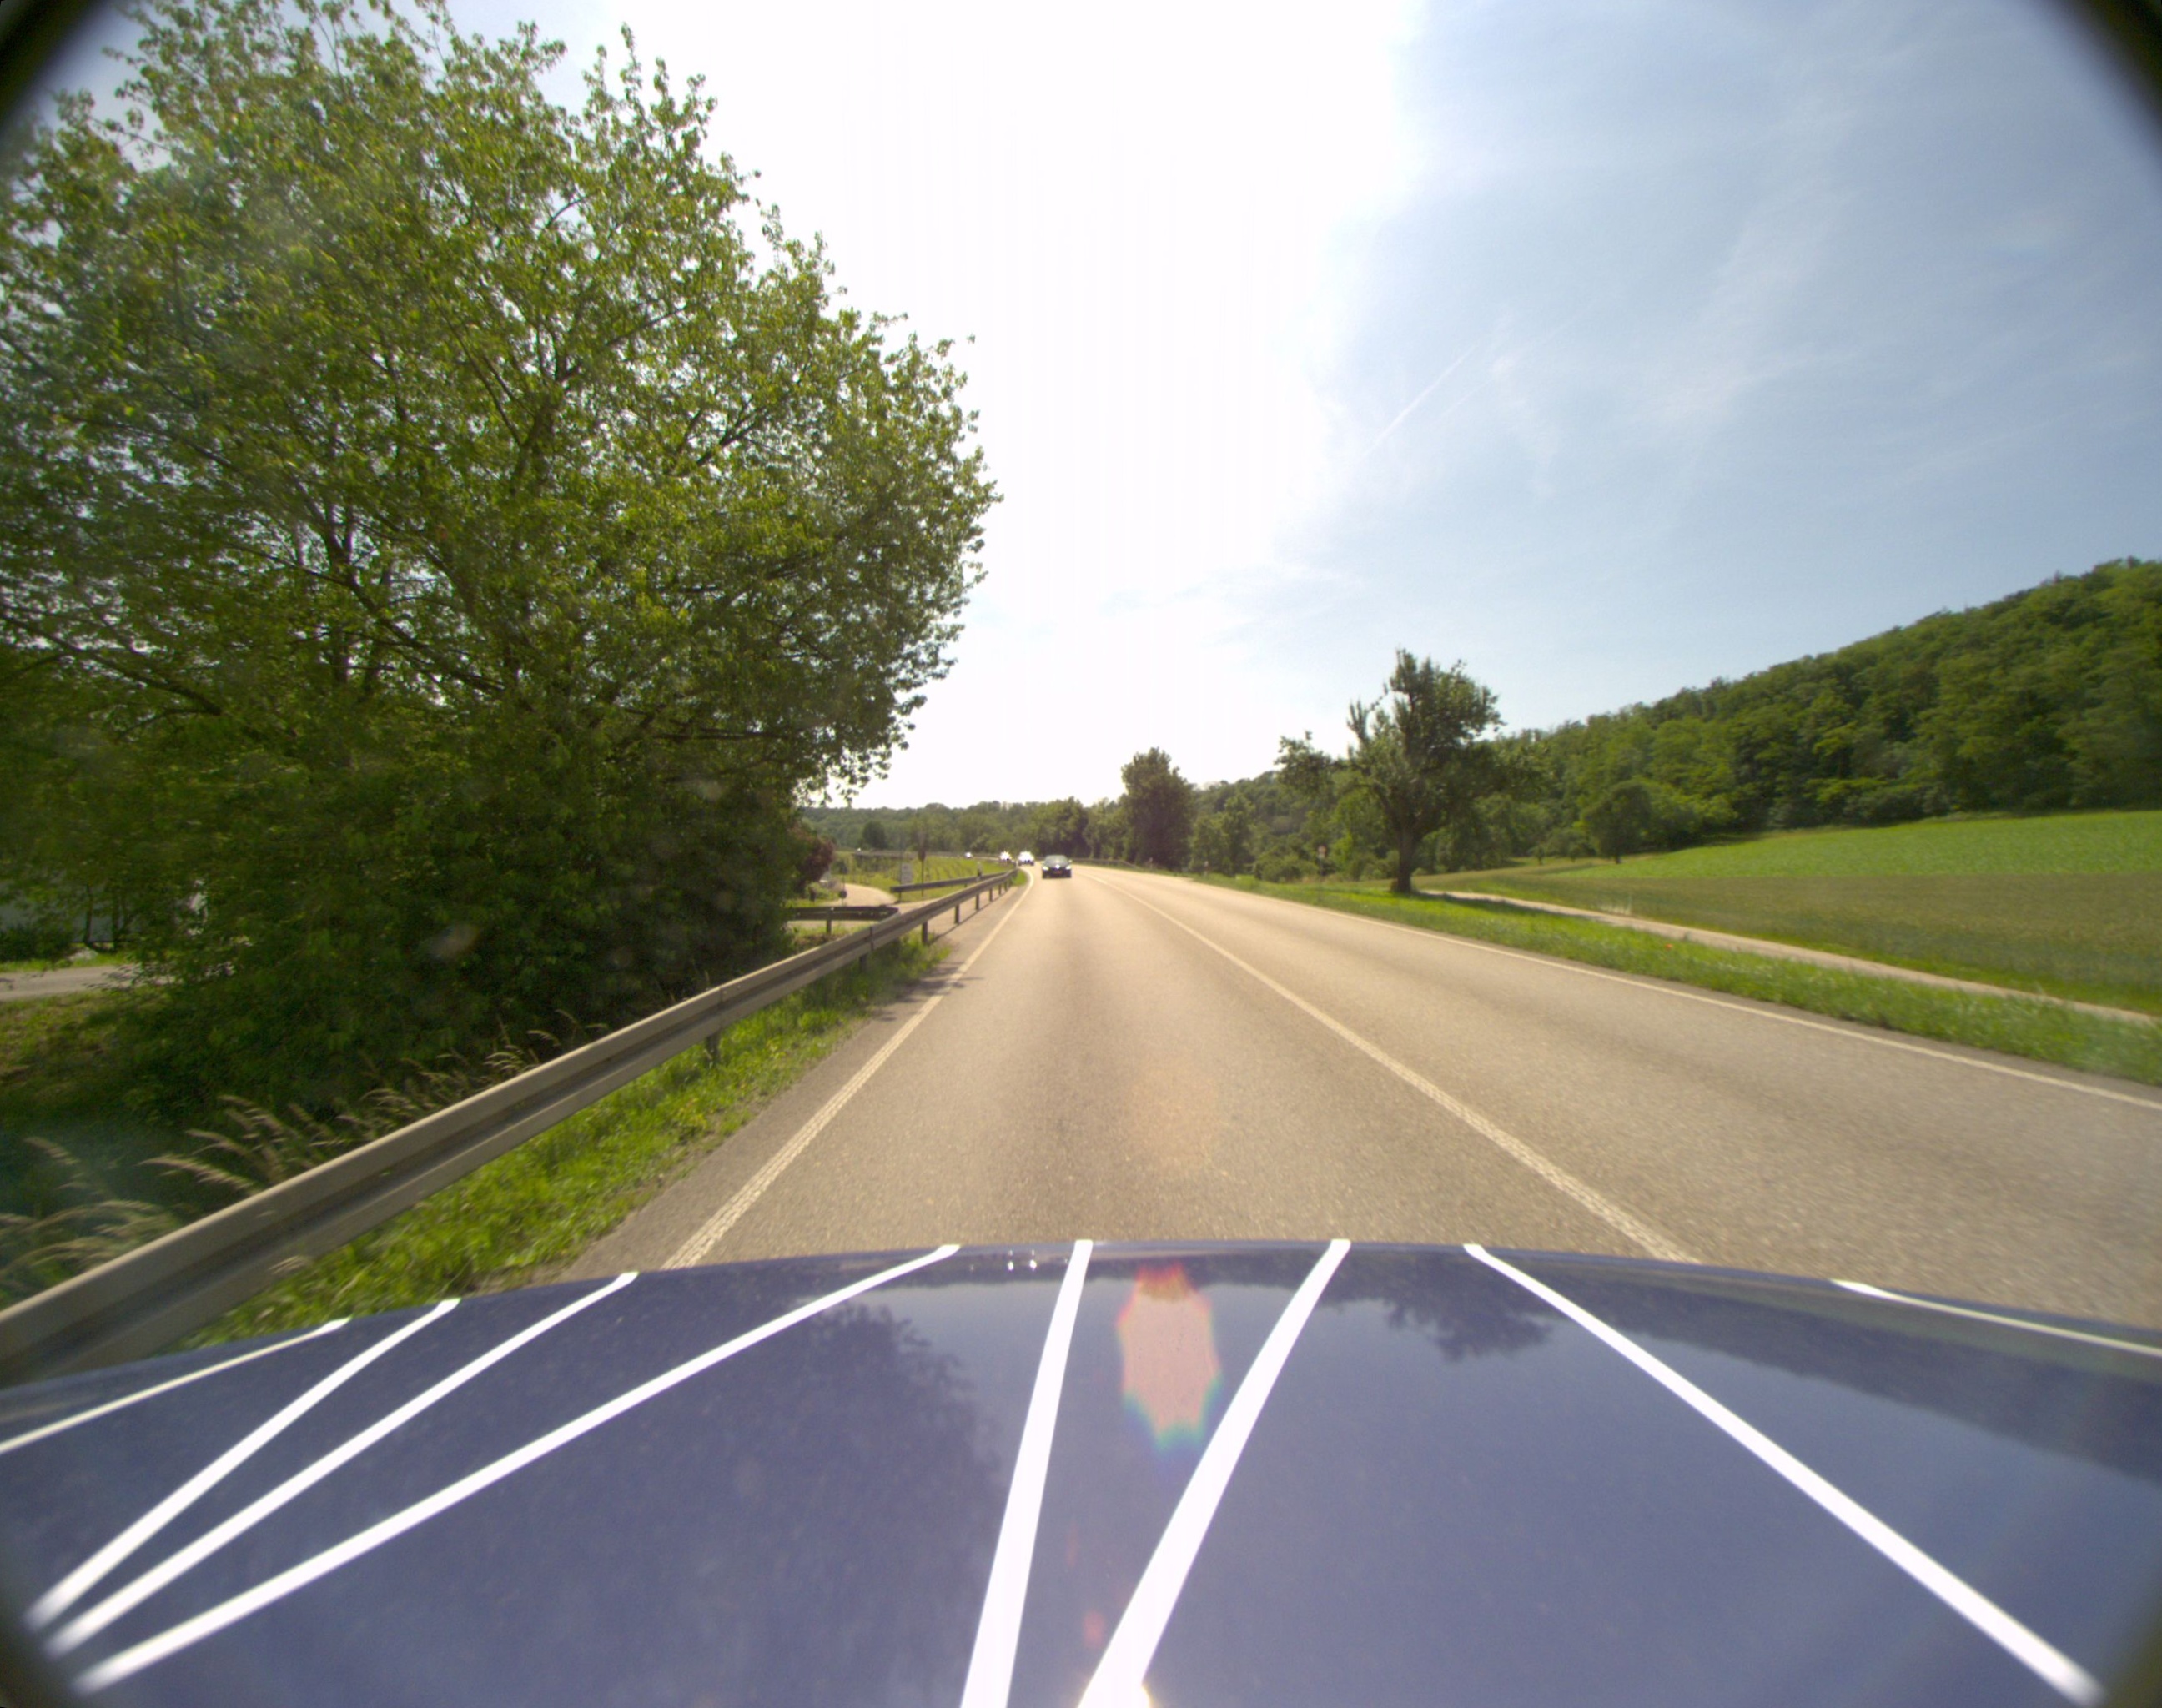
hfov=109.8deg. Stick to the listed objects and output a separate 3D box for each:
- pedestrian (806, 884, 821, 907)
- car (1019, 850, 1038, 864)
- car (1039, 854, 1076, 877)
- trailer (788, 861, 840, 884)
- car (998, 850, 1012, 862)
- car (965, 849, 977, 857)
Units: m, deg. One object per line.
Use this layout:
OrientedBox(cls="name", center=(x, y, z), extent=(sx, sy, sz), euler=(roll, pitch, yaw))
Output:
OrientedBox(cls="pedestrian", center=(-21.386, 3.327, 60.732), extent=(0.887, 1.800, 0.959), euler=(1, 0, -7))
OrientedBox(cls="car", center=(-6.680, 0.392, 96.280), extent=(1.982, 1.779, 3.997), euler=(-1, 0, -9))
OrientedBox(cls="car", center=(-1.528, 0.678, 48.154), extent=(1.981, 1.333, 3.997), euler=(-1, 1, -7))
OrientedBox(cls="trailer", center=(-41.368, 2.793, 117.466), extent=(2.733, 3.309, 11.861), euler=(-2, 1, -44))
OrientedBox(cls="car", center=(-12.870, 0.347, 129.159), extent=(1.982, 1.723, 3.994), euler=(-1, 3, -11))
OrientedBox(cls="car", center=(-25.227, -0.248, 173.869), extent=(1.983, 1.594, 3.992), euler=(-2, 3, -19))
